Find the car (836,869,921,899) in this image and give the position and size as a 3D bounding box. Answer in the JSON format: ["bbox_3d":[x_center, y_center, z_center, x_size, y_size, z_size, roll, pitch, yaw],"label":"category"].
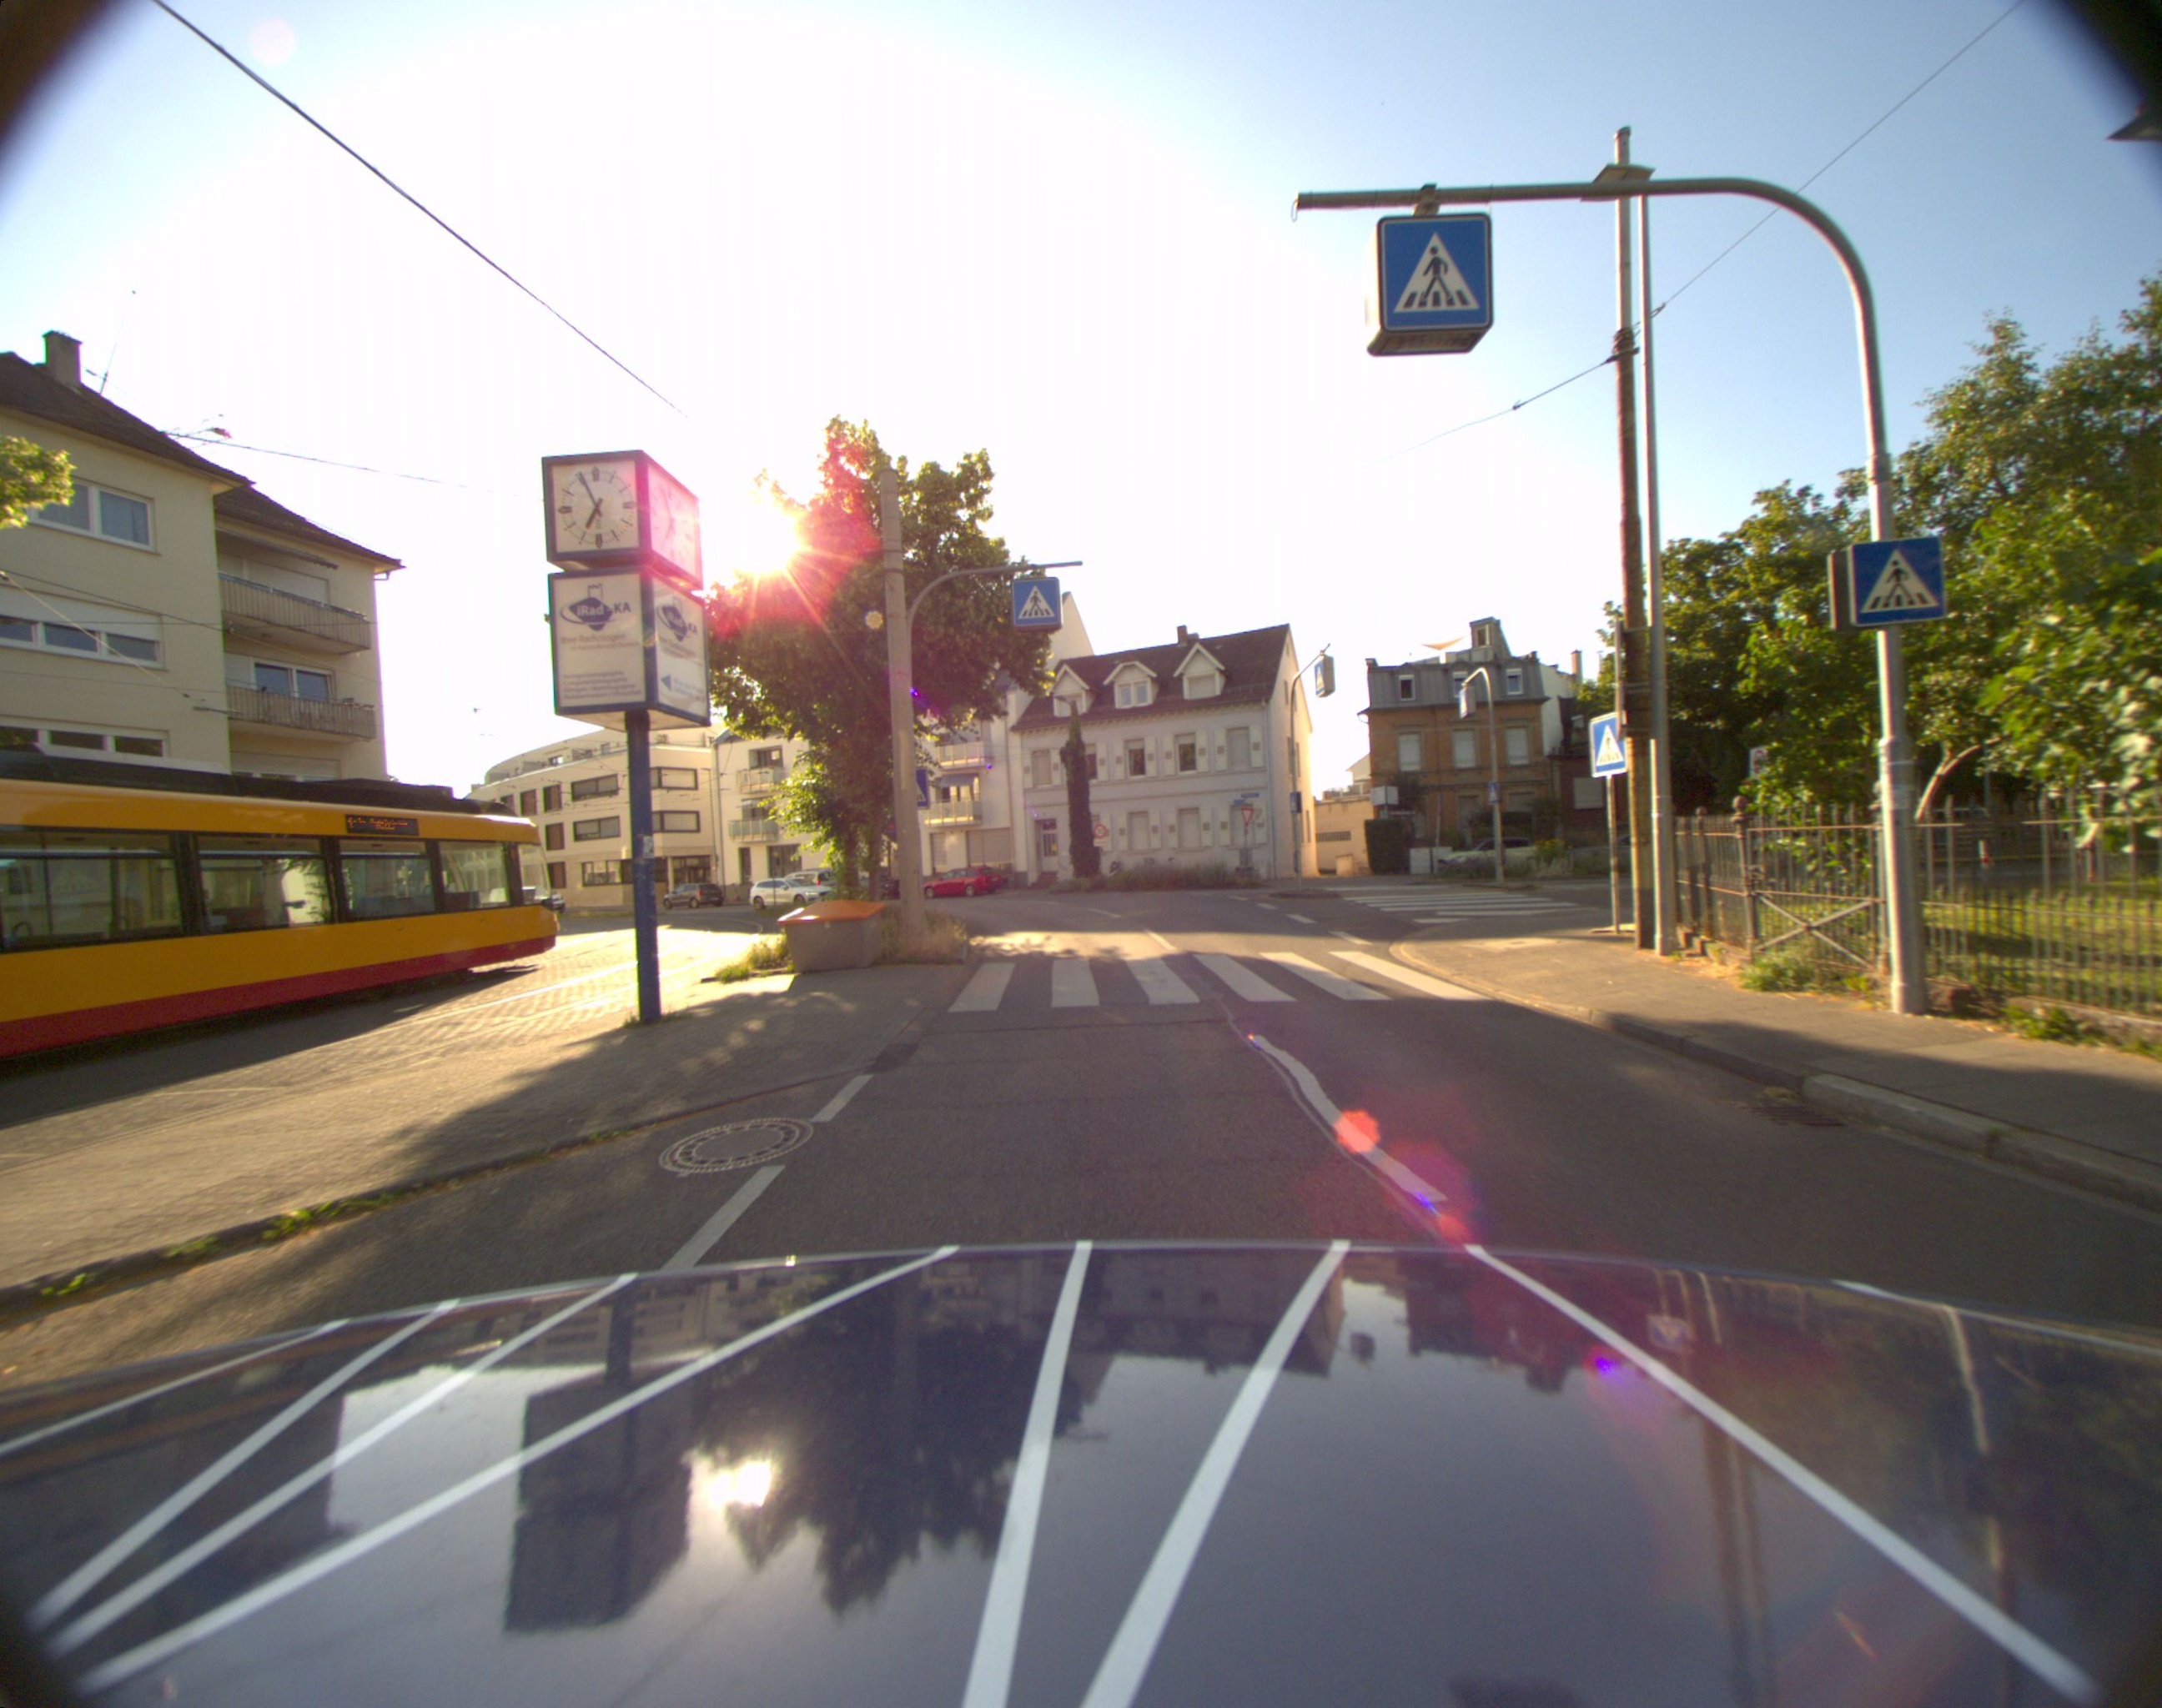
[{"bbox_3d":[-10.947,1.618,41.040,4.116,1.339,1.938,-4,0,27],"label":"car"}]

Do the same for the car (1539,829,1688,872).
[{"bbox_3d":[21.473,-0.132,30.790,4.690,1.445,1.726,-3,0,4],"label":"car"}]

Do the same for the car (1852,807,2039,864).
[{"bbox_3d":[34.829,-0.718,30.734,5.094,1.933,1.929,-3,0,4],"label":"car"}]

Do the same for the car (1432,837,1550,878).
[{"bbox_3d":[16.845,0.141,31.375,3.879,1.445,1.702,-3,0,4],"label":"car"}]

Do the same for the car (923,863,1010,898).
[{"bbox_3d":[-5.835,1.367,38.570,4.196,1.453,1.610,-5,0,32],"label":"car"}]

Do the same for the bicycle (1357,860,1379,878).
[{"bbox_3d":[19.730,1.028,52.171,0.703,1.076,2.344,-3,0,37],"label":"bicycle"}]

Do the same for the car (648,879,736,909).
[{"bbox_3d":[-22.609,2.346,44.112,4.922,1.574,2.003,-2,0,28],"label":"car"}]

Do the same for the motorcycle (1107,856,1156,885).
[{"bbox_3d":[2.302,0.760,34.637,2.104,1.220,0.625,-3,1,27],"label":"motorcycle"}]

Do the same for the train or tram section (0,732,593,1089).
[{"bbox_3d":[-11.845,0.598,9.540,2.965,3.401,13.462,-2,0,-2],"label":"train or tram section"}]

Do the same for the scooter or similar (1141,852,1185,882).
[{"bbox_3d":[3.927,0.632,36.392,1.882,1.358,0.625,-3,1,23],"label":"scooter or similar"}]

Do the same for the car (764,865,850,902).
[{"bbox_3d":[-15.639,1.675,43.399,4.263,1.945,2.003,-2,0,20],"label":"car"}]

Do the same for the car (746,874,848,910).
[{"bbox_3d":[-13.207,1.767,35.265,4.438,1.453,2.004,-3,0,31],"label":"car"}]
